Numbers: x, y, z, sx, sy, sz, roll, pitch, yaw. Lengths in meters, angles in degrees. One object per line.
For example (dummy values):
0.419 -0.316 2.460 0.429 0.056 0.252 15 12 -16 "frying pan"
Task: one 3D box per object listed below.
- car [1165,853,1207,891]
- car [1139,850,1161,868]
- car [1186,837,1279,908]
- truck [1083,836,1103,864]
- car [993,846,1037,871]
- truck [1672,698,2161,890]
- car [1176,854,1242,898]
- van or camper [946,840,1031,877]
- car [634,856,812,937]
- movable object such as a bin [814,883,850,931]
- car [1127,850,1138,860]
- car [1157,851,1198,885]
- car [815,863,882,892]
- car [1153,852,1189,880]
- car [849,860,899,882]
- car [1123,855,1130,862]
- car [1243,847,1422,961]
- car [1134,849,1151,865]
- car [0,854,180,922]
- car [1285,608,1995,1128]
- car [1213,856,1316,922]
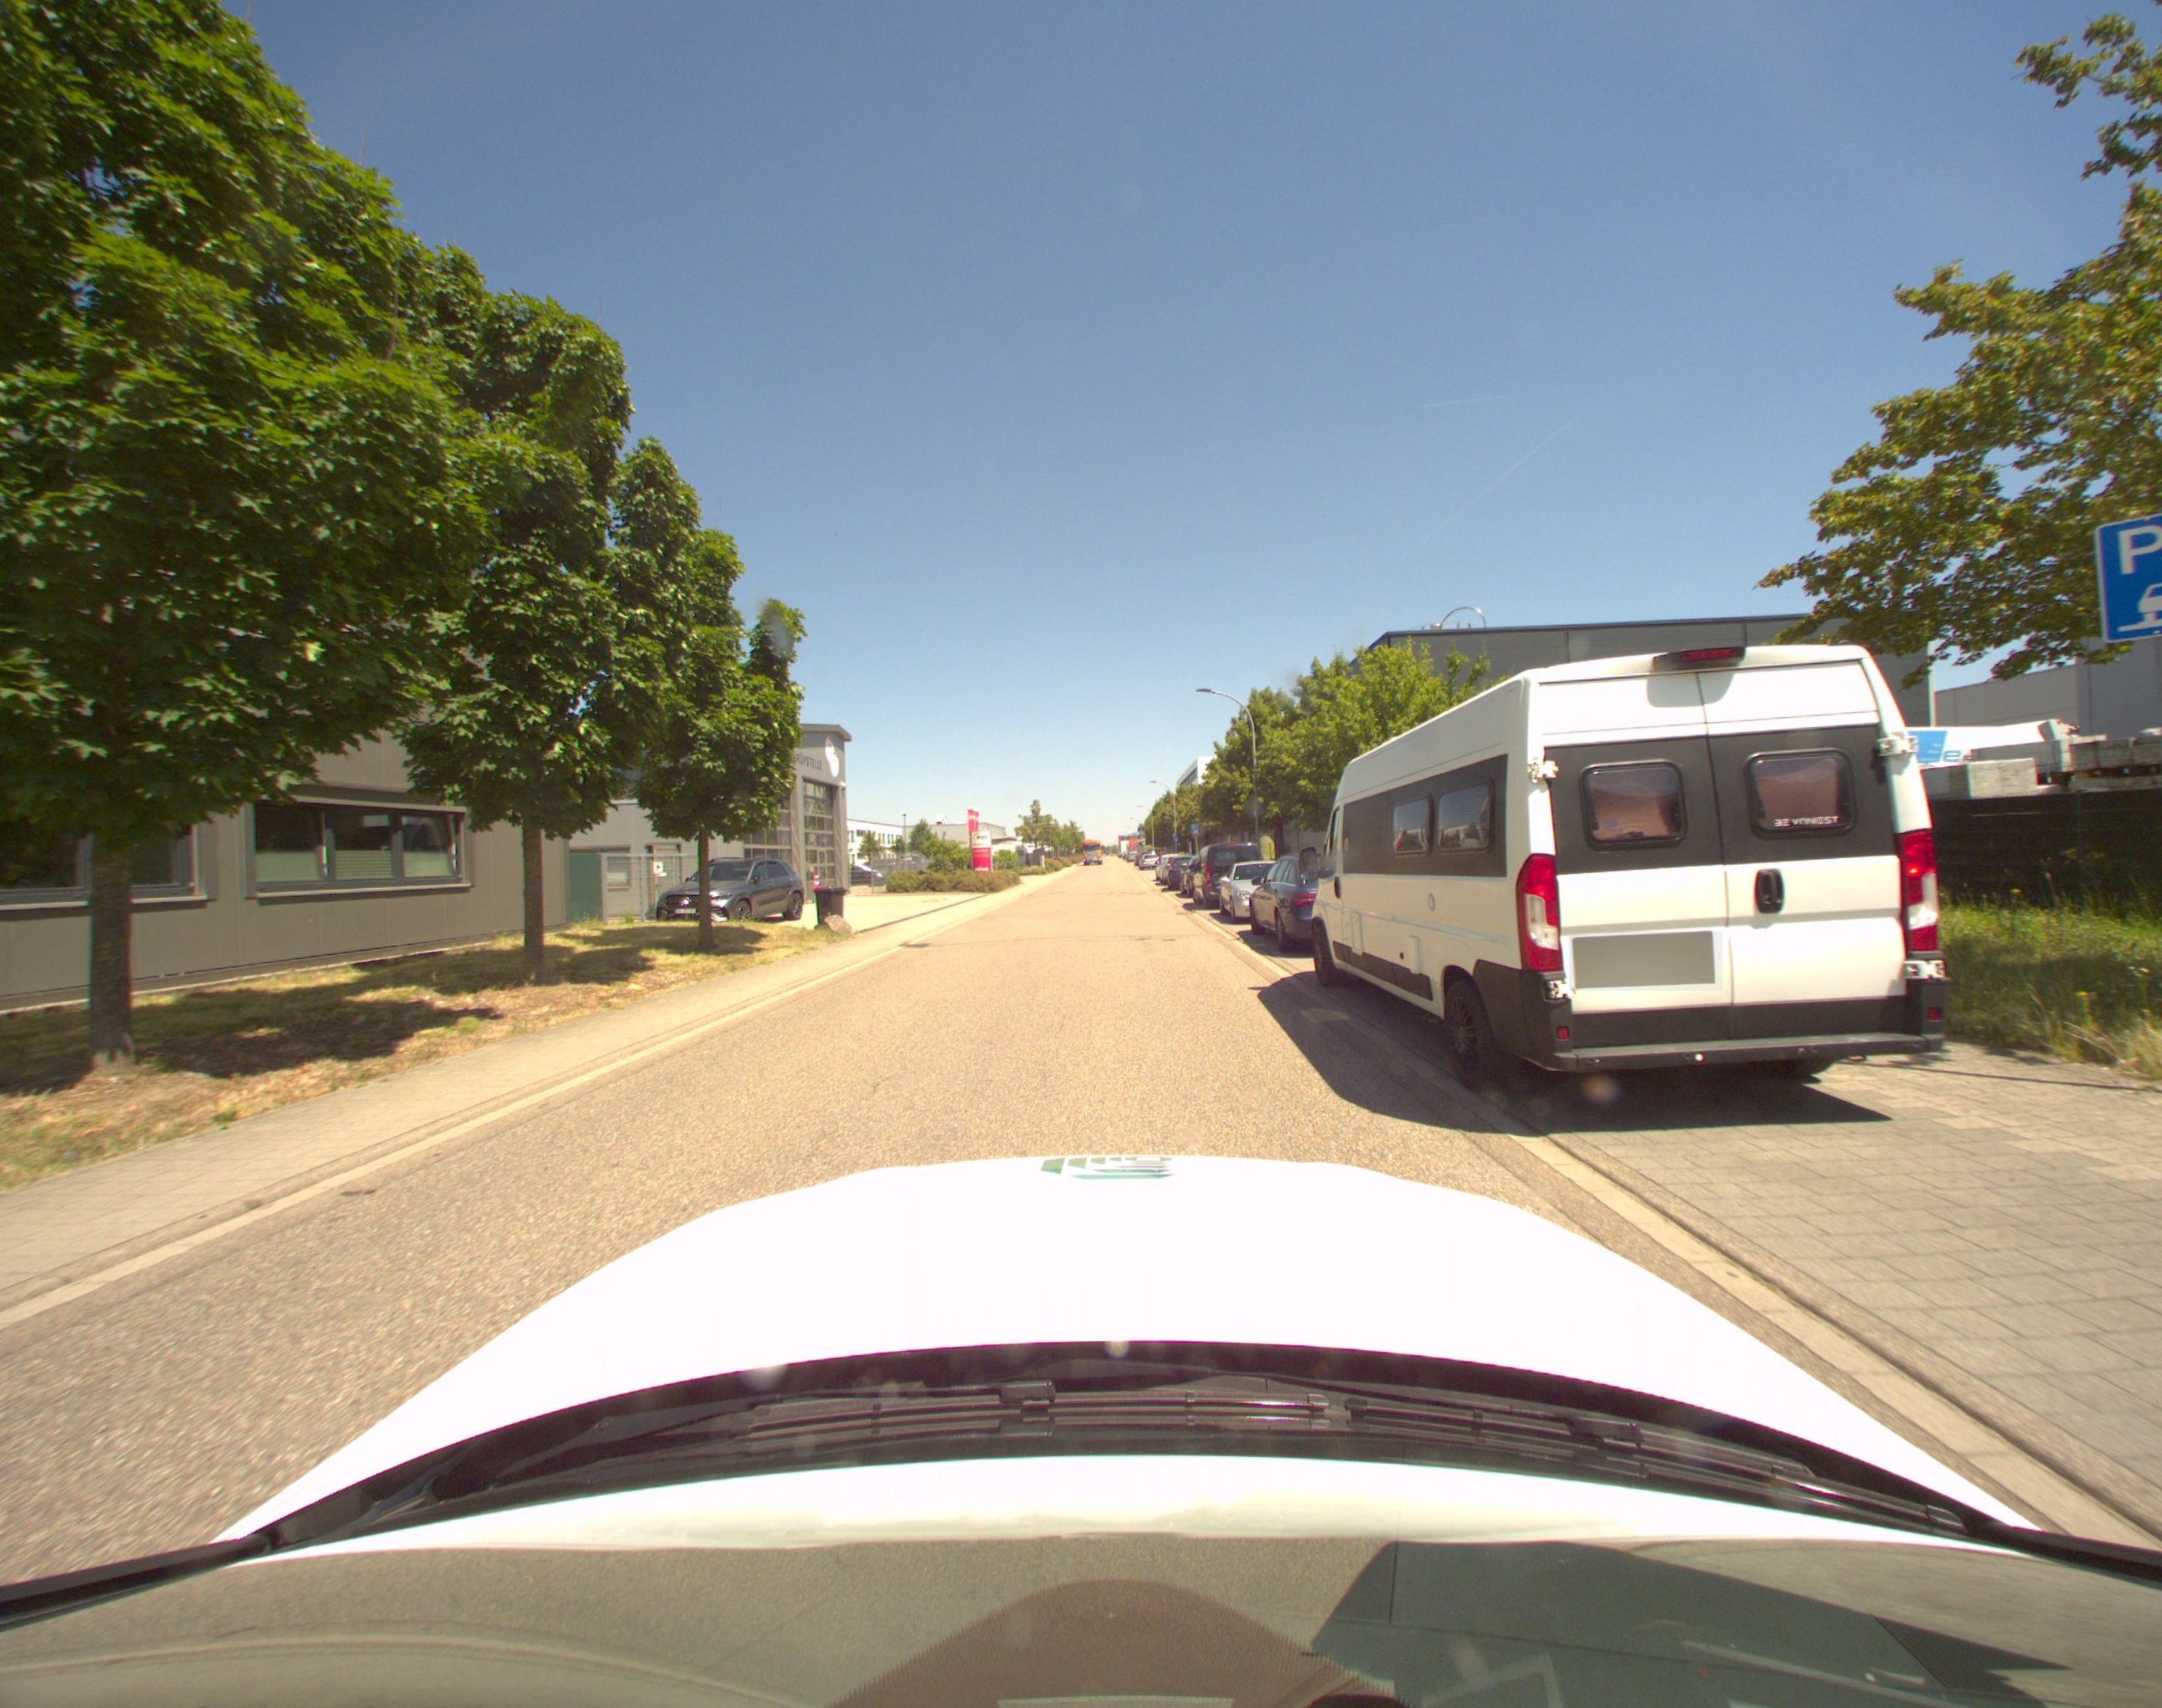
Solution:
4.700 0.761 36.630 1.700 1.504 4.715 -3 -1 7 "car"
6.203 0.452 73.301 1.711 1.450 3.648 -3 0 2 "car"
4.351 0.520 24.107 1.986 1.825 4.355 -3 -1 2 "car"
1.726 -0.584 113.205 2.439 3.513 8.277 -4 0 2 "truck"
-7.397 0.544 91.978 4.703 2.586 1.998 -3 0 -2 "car"
19.871 -1.401 19.453 9.974 3.822 3.028 -3 0 -9 "truck"
4.720 0.774 30.598 1.843 1.431 4.715 -3 -1 2 "car"
-8.552 0.407 75.676 7.358 3.037 2.791 -3 0 1 "van or camper"
-8.961 0.983 20.968 1.984 1.735 4.921 -1 1 6 "car"
-5.772 1.223 18.919 0.577 1.065 0.766 0 0 2 "movable object such as a bin"
7.597 0.184 120.339 1.579 1.409 3.502 -2 0 2 "car"
4.983 0.672 42.383 1.741 1.561 4.509 -3 0 3 "car"
-13.780 1.366 48.477 3.493 1.552 1.556 -2 0 -3 "car"
5.251 0.675 47.962 1.631 1.469 3.745 -3 0 0 "car"
-19.087 1.538 75.135 3.973 1.816 1.917 -3 0 1 "car"
10.237 1.075 184.879 1.489 1.409 3.502 -2 0 2 "car"
3.921 0.688 13.534 1.820 1.493 4.483 -3 0 4 "car"
6.890 0.339 91.301 1.714 1.694 3.987 -2 0 3 "car"
-28.301 0.906 22.431 4.875 1.735 2.002 -1 1 4 "car"
3.540 0.089 7.160 2.257 2.497 6.159 -3 0 4 "car"
4.158 0.765 19.058 1.704 1.287 4.119 -3 -1 4 "car"
